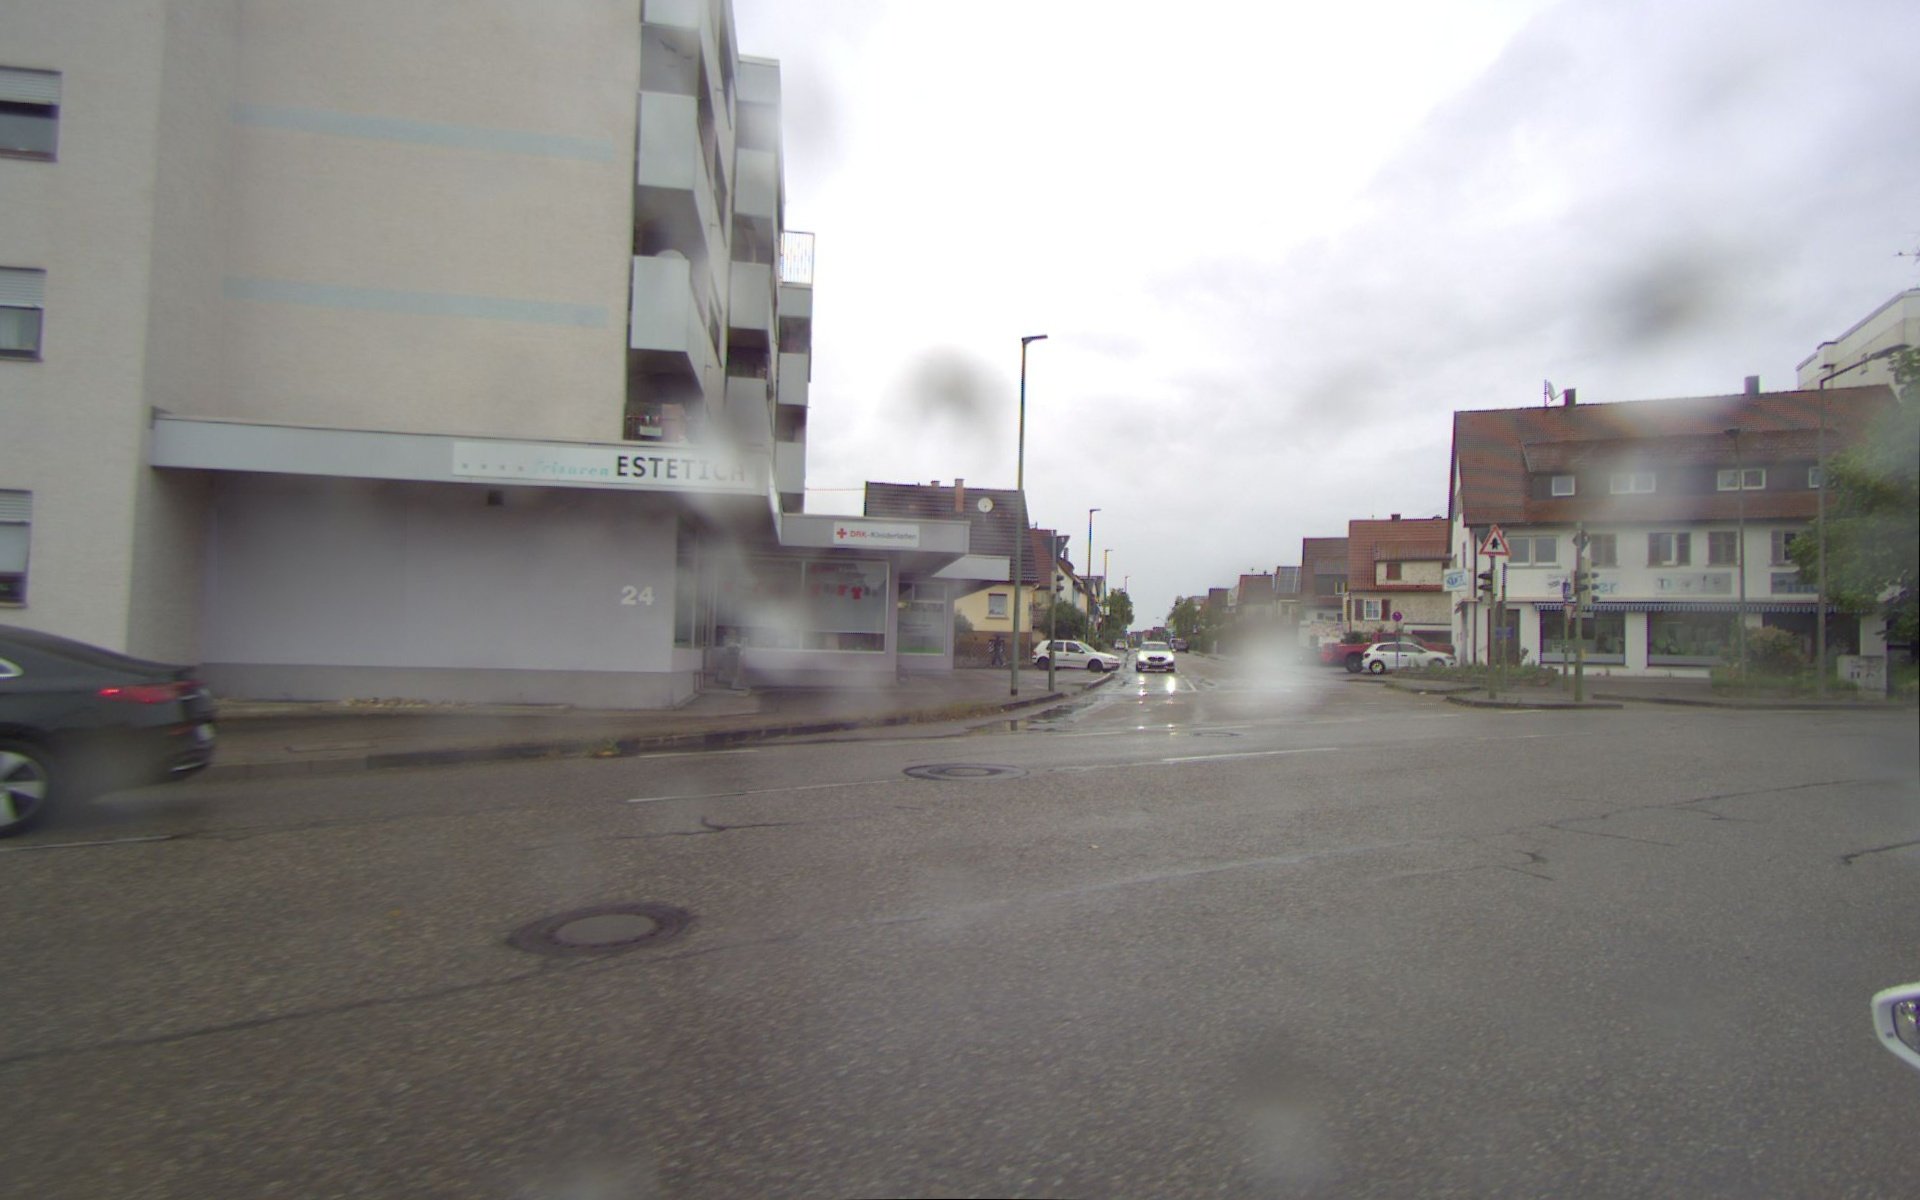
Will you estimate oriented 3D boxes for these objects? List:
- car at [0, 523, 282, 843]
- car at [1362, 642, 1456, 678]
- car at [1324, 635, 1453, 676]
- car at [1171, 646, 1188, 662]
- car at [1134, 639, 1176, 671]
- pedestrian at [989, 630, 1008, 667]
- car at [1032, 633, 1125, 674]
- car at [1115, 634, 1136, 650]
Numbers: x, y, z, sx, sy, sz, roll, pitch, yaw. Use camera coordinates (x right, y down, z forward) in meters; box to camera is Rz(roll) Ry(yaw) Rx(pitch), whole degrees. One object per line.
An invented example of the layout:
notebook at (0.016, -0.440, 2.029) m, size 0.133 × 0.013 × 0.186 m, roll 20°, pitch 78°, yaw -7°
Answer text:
car at (-7.447, 0.532, 6.781) m, size 4.599 × 2.040 × 1.983 m, roll 2°, pitch -2°, yaw -31°
car at (20.863, 2.760, 46.677) m, size 3.926 × 1.546 × 1.998 m, roll 0°, pitch -2°, yaw 27°
car at (21.045, 2.703, 49.616) m, size 5.737 × 1.866 × 2.000 m, roll 0°, pitch -2°, yaw 20°
car at (28.120, 6.898, 128.758) m, size 1.960 × 2.040 × 4.002 m, roll 0°, pitch -2°, yaw 16°
car at (9.554, 2.666, 49.059) m, size 1.797 × 1.453 × 4.291 m, roll 0°, pitch -2°, yaw 14°
pedestrian at (1.945, 2.454, 50.799) m, size 0.834 × 1.882 × 0.724 m, roll 1°, pitch -2°, yaw -8°
car at (5.436, 2.411, 46.073) m, size 3.843 × 1.755 × 1.834 m, roll 0°, pitch -2°, yaw 23°
car at (21.806, 5.511, 131.962) m, size 1.961 × 2.040 × 4.000 m, roll 0°, pitch -2°, yaw 20°
